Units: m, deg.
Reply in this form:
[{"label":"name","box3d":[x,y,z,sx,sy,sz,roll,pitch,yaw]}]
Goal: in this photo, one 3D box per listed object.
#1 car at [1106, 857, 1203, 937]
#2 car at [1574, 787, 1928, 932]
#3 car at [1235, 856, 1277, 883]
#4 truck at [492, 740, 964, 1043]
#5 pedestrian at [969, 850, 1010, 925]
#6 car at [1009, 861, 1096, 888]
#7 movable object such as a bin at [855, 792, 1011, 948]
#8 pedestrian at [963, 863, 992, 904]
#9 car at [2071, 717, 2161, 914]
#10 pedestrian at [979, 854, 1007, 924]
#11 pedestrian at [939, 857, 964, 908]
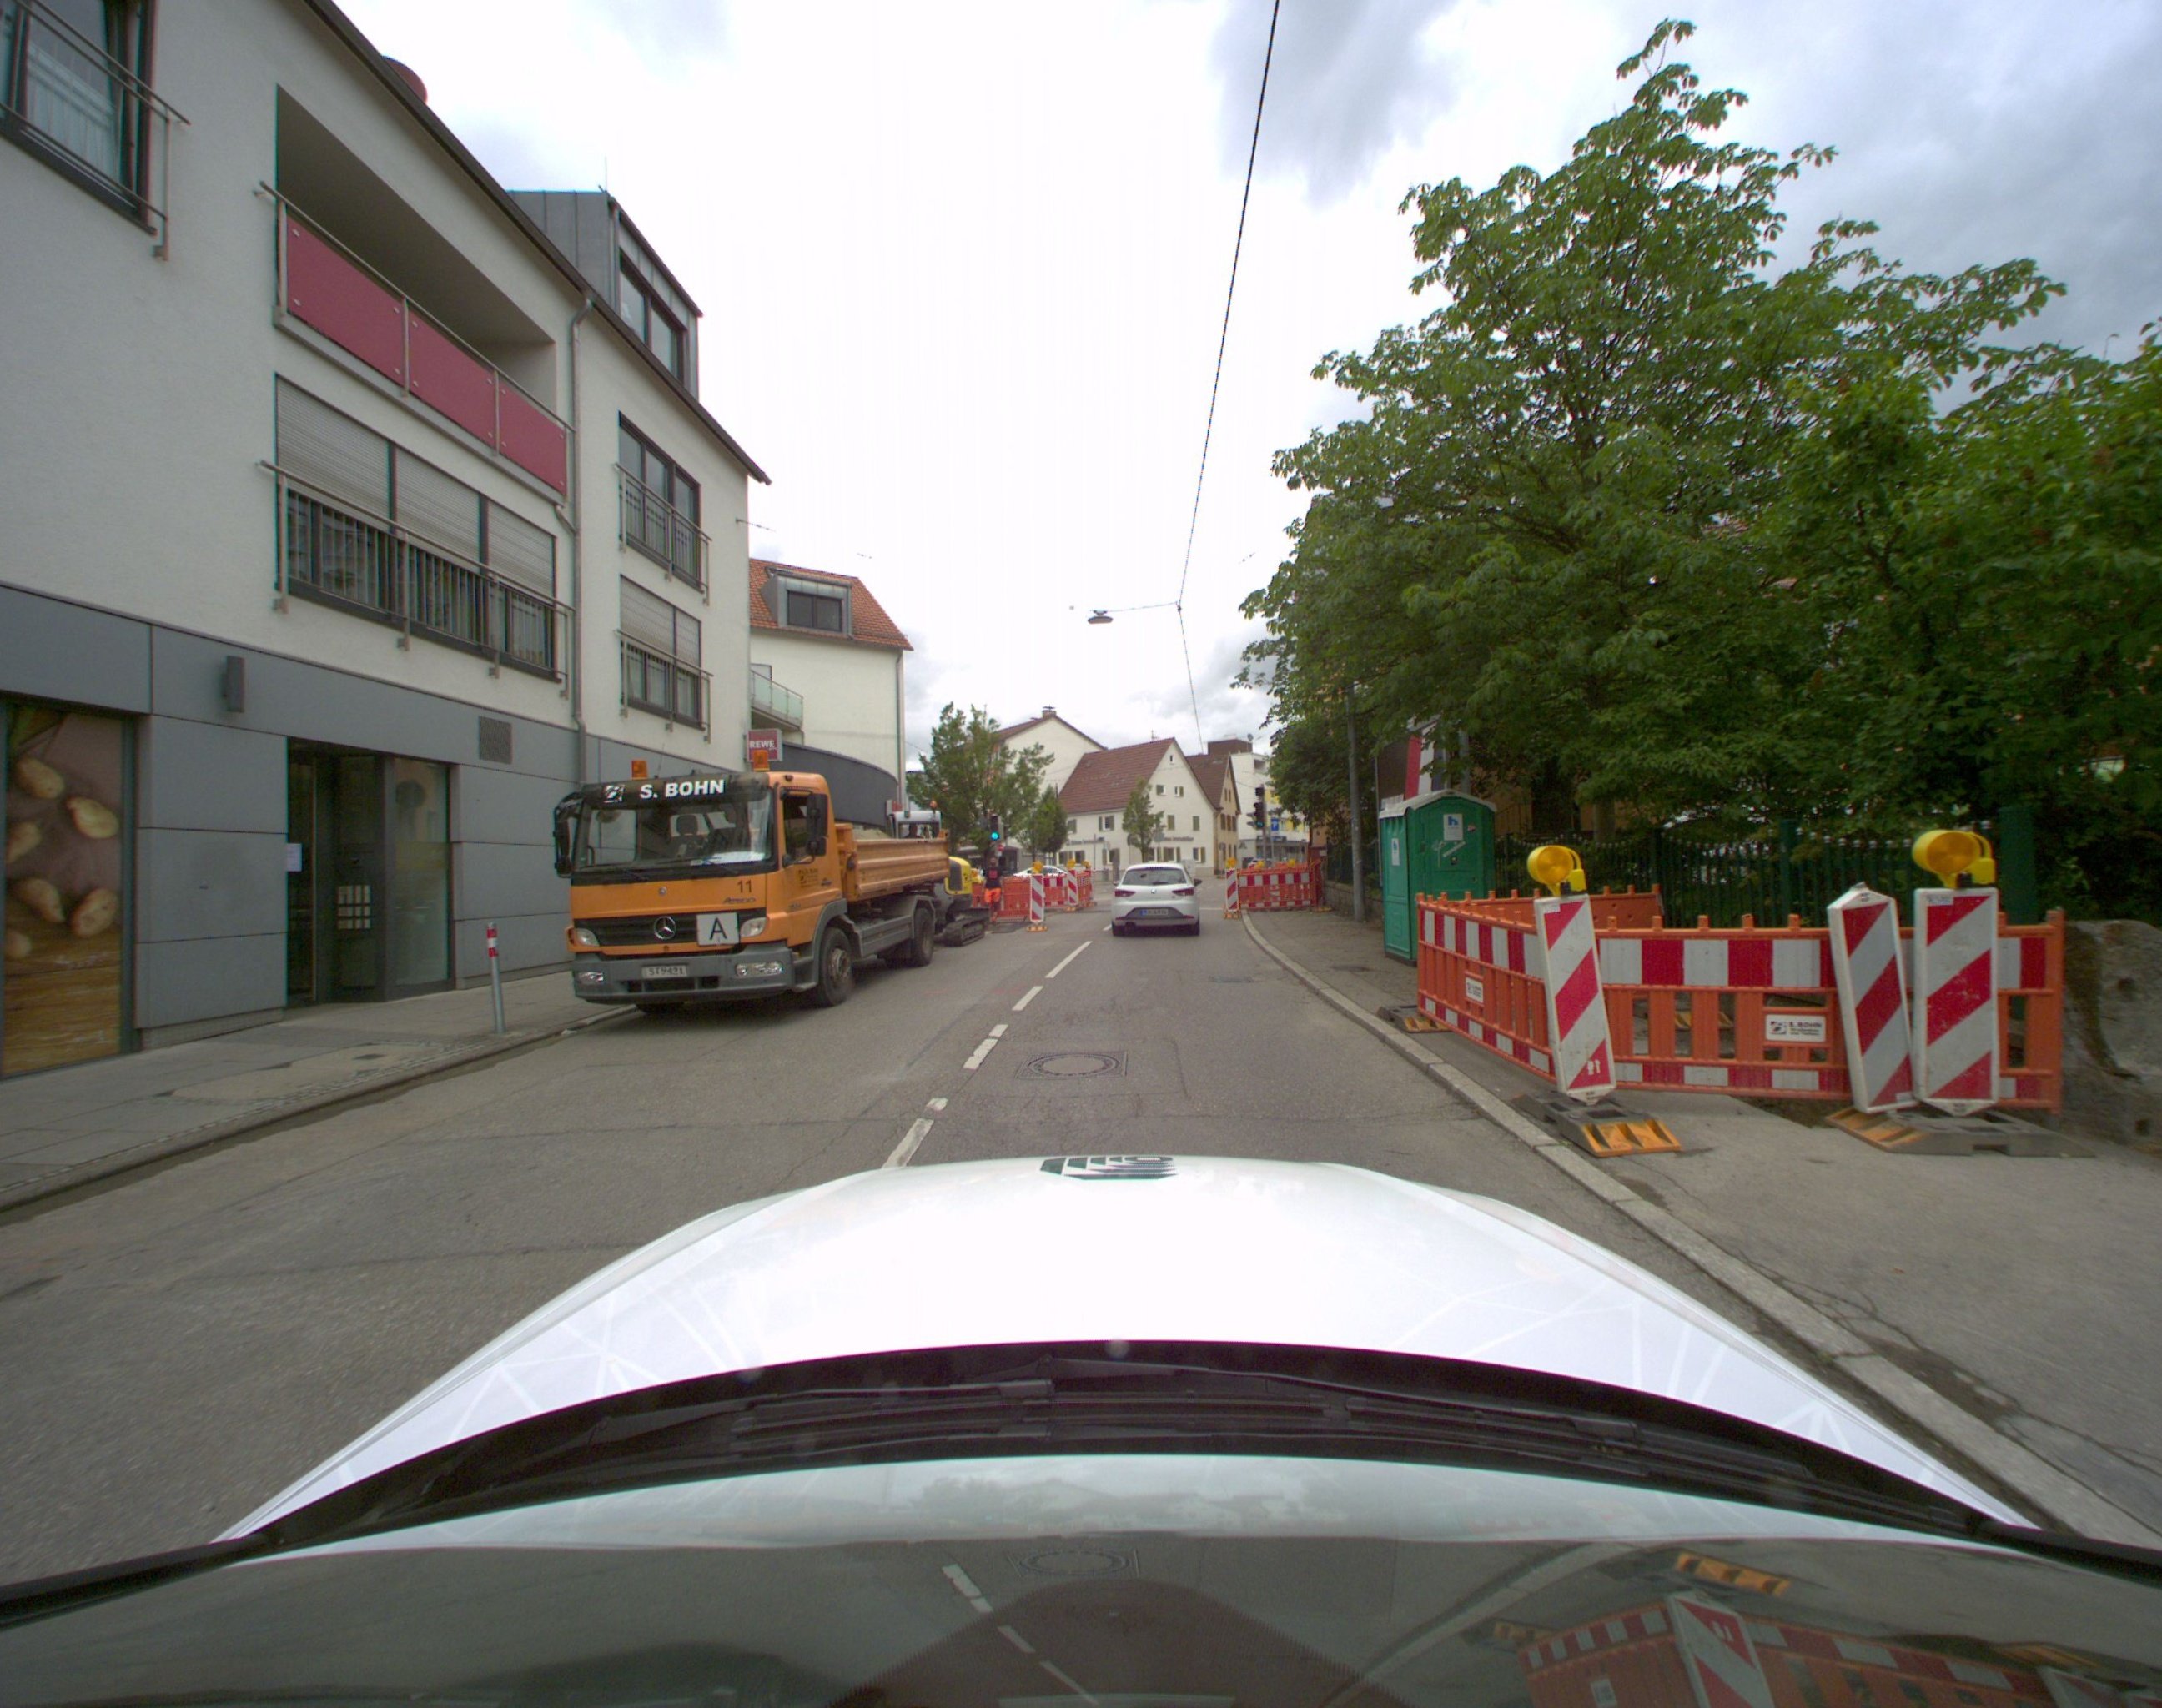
[{"label":"car","box3d":[1.458,0.813,17.248,1.804,1.481,3.873,0,0,2]},{"label":"car","box3d":[10.587,0.135,13.368,4.173,2.033,2.013,-2,-1,32]},{"label":"car","box3d":[10.911,0.931,50.481,1.795,1.481,3.892,-2,0,23]},{"label":"truck","box3d":[-3.805,0.365,10.968,2.718,2.725,6.859,-2,0,6]},{"label":"pedestrian","box3d":[-2.288,0.832,20.473,0.810,1.816,0.745,-2,-1,8]},{"label":"car","box3d":[-1.686,1.229,48.980,4.876,1.477,2.254,-1,-1,7]},{"label":"movable object such as a bin","box3d":[-2.879,0.349,16.940,1.829,2.764,4.514,-2,-2,7]},{"label":"pedestrian","box3d":[-4.134,1.180,32.474,0.674,1.592,0.884,-3,-1,31]},{"label":"car","box3d":[10.558,-0.354,6.221,3.977,1.563,1.746,-1,-1,-2]},{"label":"pedestrian","box3d":[-2.198,0.871,20.415,0.534,1.744,0.445,-2,-1,9]},{"label":"pedestrian","box3d":[-5.020,1.088,31.572,0.816,1.925,0.780,-1,-1,-16]}]
